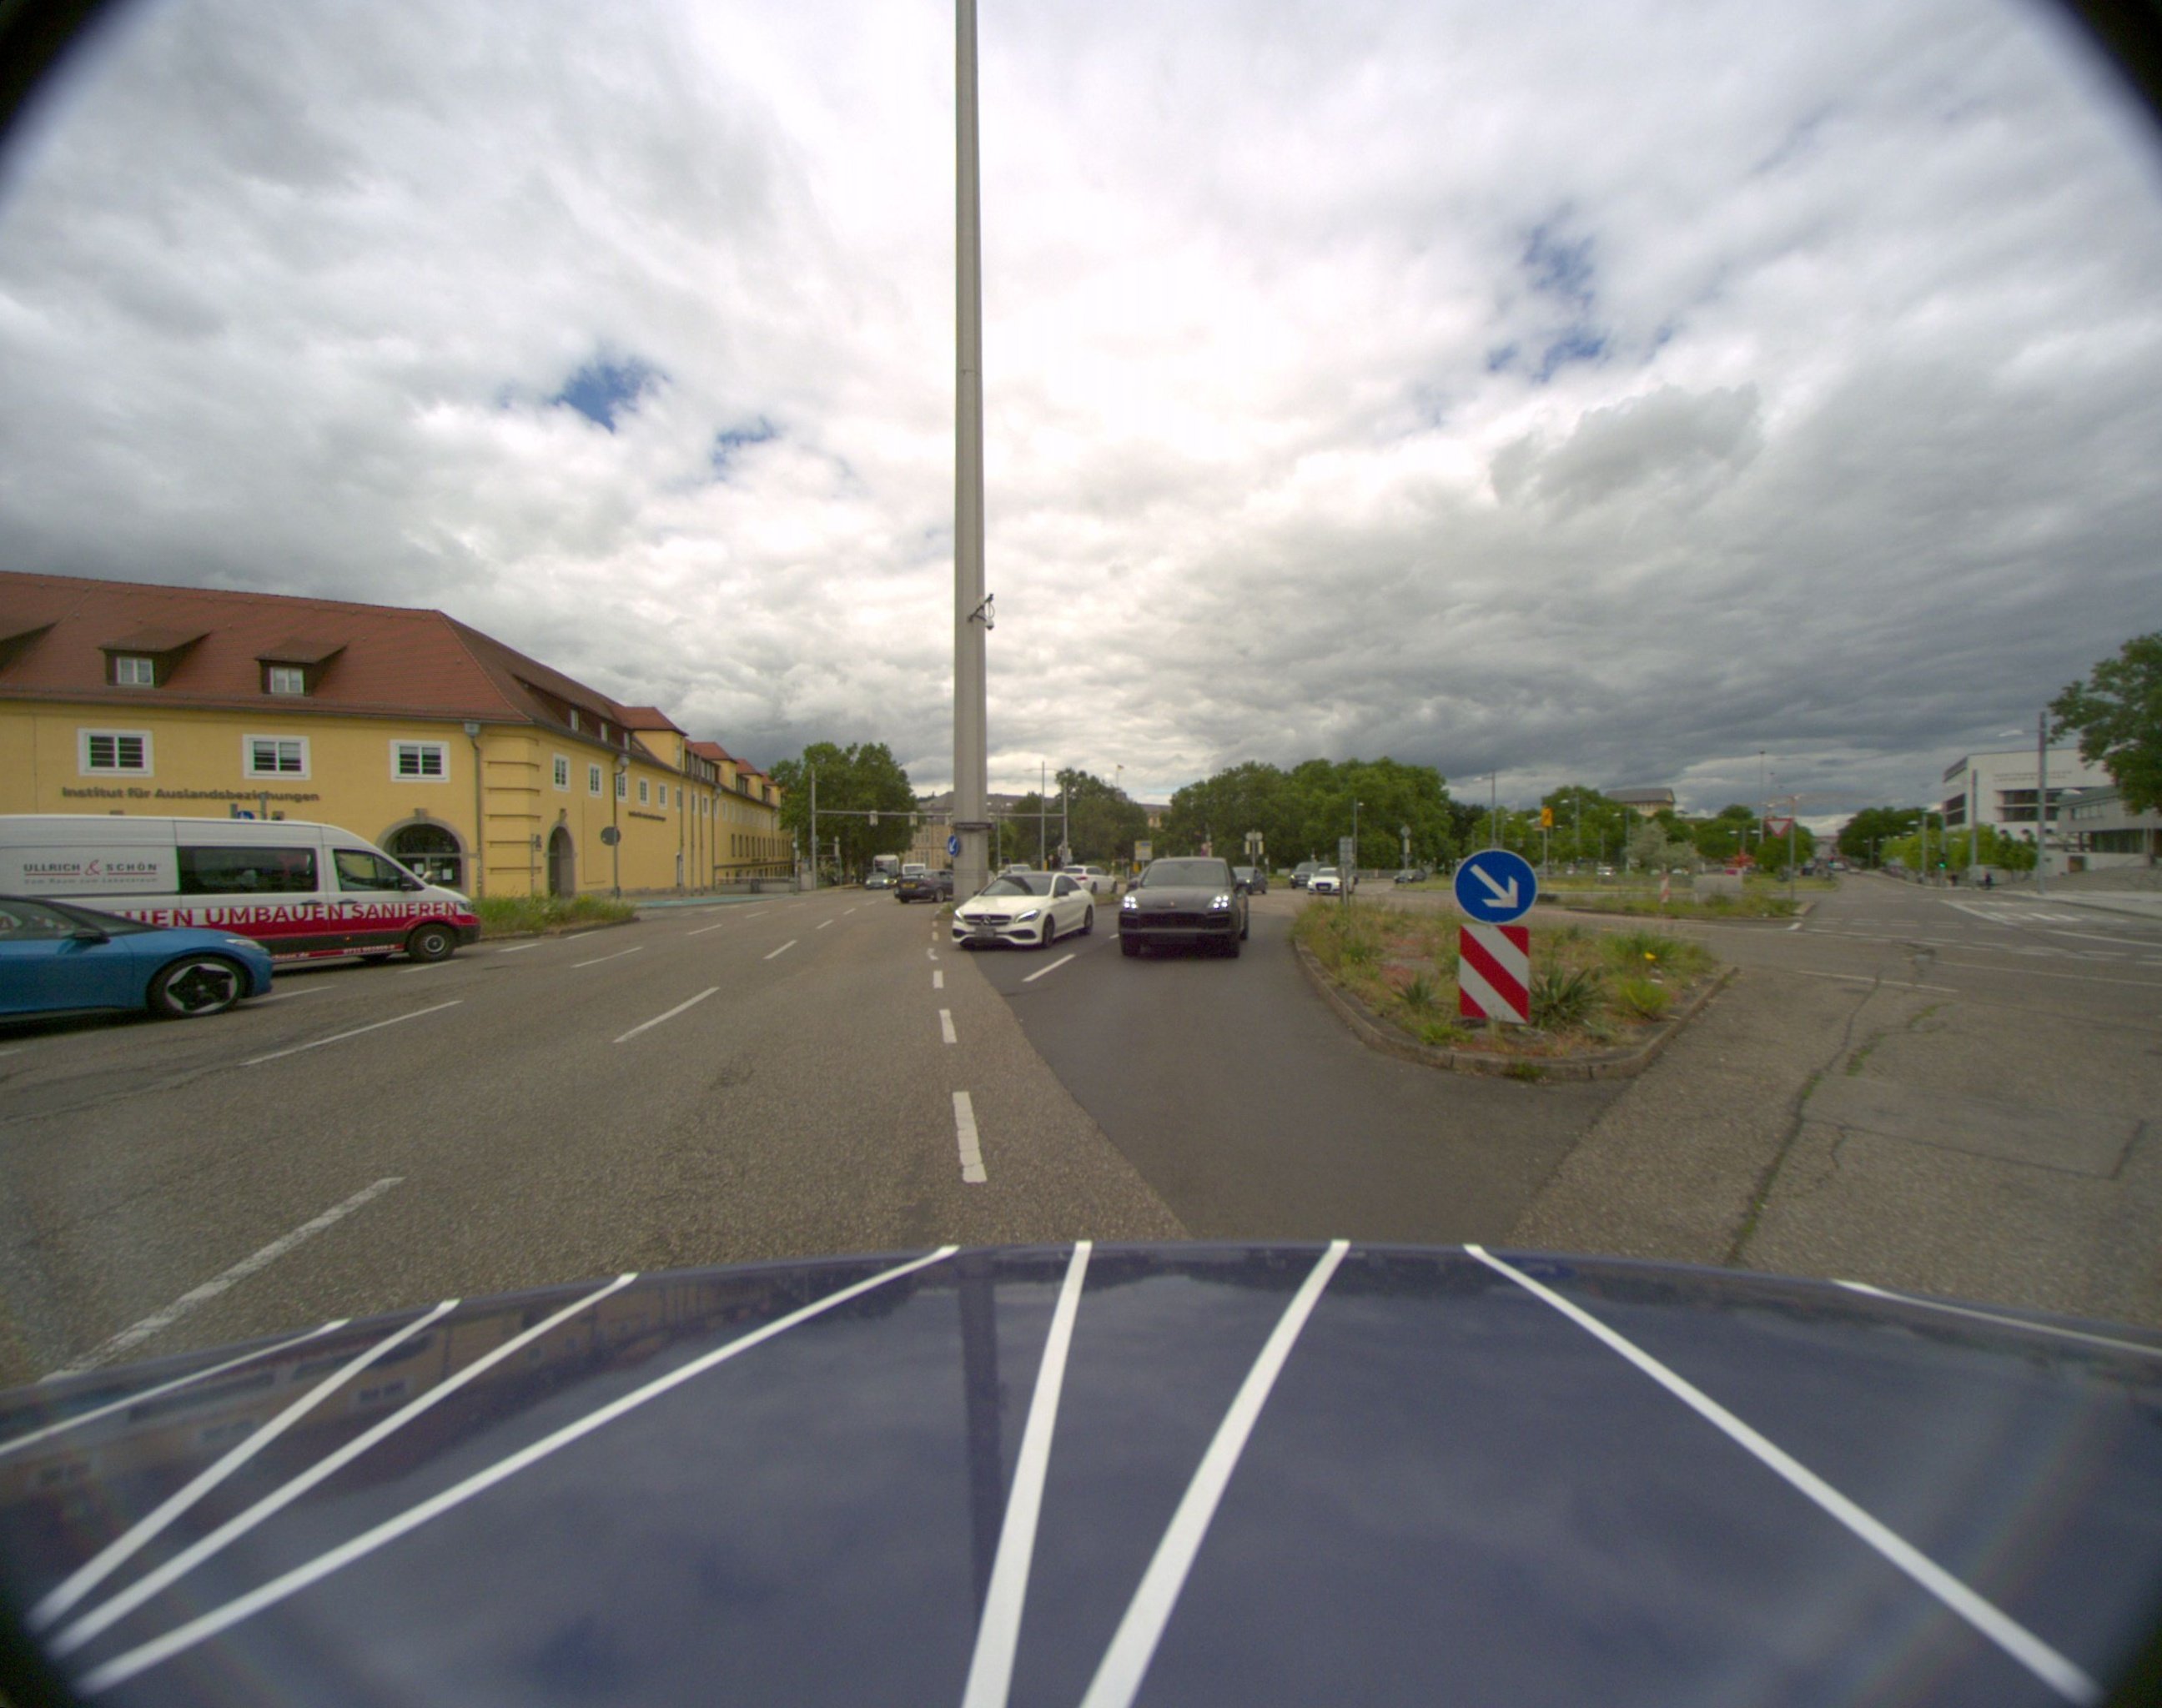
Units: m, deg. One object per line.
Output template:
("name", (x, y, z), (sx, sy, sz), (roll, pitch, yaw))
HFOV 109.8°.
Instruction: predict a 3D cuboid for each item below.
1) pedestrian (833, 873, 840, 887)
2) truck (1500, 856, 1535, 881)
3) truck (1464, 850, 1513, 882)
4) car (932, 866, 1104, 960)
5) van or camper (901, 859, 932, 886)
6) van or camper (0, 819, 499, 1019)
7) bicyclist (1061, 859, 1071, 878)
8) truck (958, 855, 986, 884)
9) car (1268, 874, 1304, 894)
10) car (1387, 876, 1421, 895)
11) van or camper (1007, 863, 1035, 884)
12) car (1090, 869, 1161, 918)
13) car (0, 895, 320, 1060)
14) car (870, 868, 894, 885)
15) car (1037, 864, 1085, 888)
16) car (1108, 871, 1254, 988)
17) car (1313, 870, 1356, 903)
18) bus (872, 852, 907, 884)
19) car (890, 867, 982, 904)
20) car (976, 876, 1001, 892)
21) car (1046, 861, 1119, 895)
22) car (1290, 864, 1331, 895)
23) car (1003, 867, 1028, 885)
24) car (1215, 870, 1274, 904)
("pedestrian", (-24.277, 2.540, 75.412), (0.682, 1.371, 0.578), (0, -1, -15))
("truck", (49.866, 1.695, 86.650), (5.802, 2.767, 1.951), (1, -1, -44))
("truck", (48.416, 1.436, 90.127), (2.721, 3.594, 9.199), (-1, -1, 44))
("car", (-1.061, 1.056, 15.475), (1.868, 1.560, 4.658), (-1, 0, 17))
("van or camper", (-14.278, 1.630, 66.404), (2.375, 2.249, 6.283), (0, -1, -10))
("van or camper", (-13.303, 0.840, 12.031), (2.142, 2.462, 6.172), (-2, -1, 24))
("bicyclist", (-1.301, 1.250, 64.690), (0.723, 1.630, 0.504), (0, 0, -41))
("truck", (-13.583, 1.904, 94.198), (2.793, 3.469, 8.341), (0, -1, -13))
("car", (17.675, 2.540, 65.350), (1.995, 1.668, 4.008), (-1, -1, 29))
("car", (30.981, 2.963, 72.811), (1.855, 1.728, 3.748), (-1, -1, 43))
("van or camper", (-5.611, 1.769, 70.706), (1.867, 1.905, 4.709), (-1, 0, -13))
("car", (1.723, 1.373, 27.869), (1.997, 1.537, 4.573), (0, 0, 11))
("car", (-11.316, 1.284, 7.723), (1.944, 1.474, 4.636), (-3, -1, 24))
("car", (-16.931, 1.888, 64.667), (1.830, 1.400, 3.996), (0, 0, -13))
("car", (-1.189, 1.357, 47.583), (1.725, 1.409, 3.654), (-1, -1, 21))
("car", (2.035, 1.181, 13.832), (2.002, 1.628, 5.026), (-1, 0, 15))
("car", (13.648, 1.697, 40.798), (2.092, 1.599, 4.419), (-1, -1, 20))
("bus", (-20.999, 1.506, 83.082), (3.437, 3.184, 13.047), (0, -1, -15))
("car", (-6.008, 1.293, 32.013), (1.755, 1.325, 4.419), (-2, 0, 20))
("car", (-8.333, 2.658, 68.033), (1.742, 1.391, 3.707), (0, -1, -15))
("car", (0.168, 1.178, 38.199), (1.995, 1.495, 5.047), (-1, 0, 21))
("car", (16.170, 1.746, 53.410), (1.855, 1.976, 4.651), (1, 0, 28))
("car", (-6.592, 2.127, 75.875), (2.001, 1.743, 3.957), (0, -1, -13))
("car", (8.557, 1.688, 39.570), (1.995, 1.592, 4.008), (-1, -1, 28))
